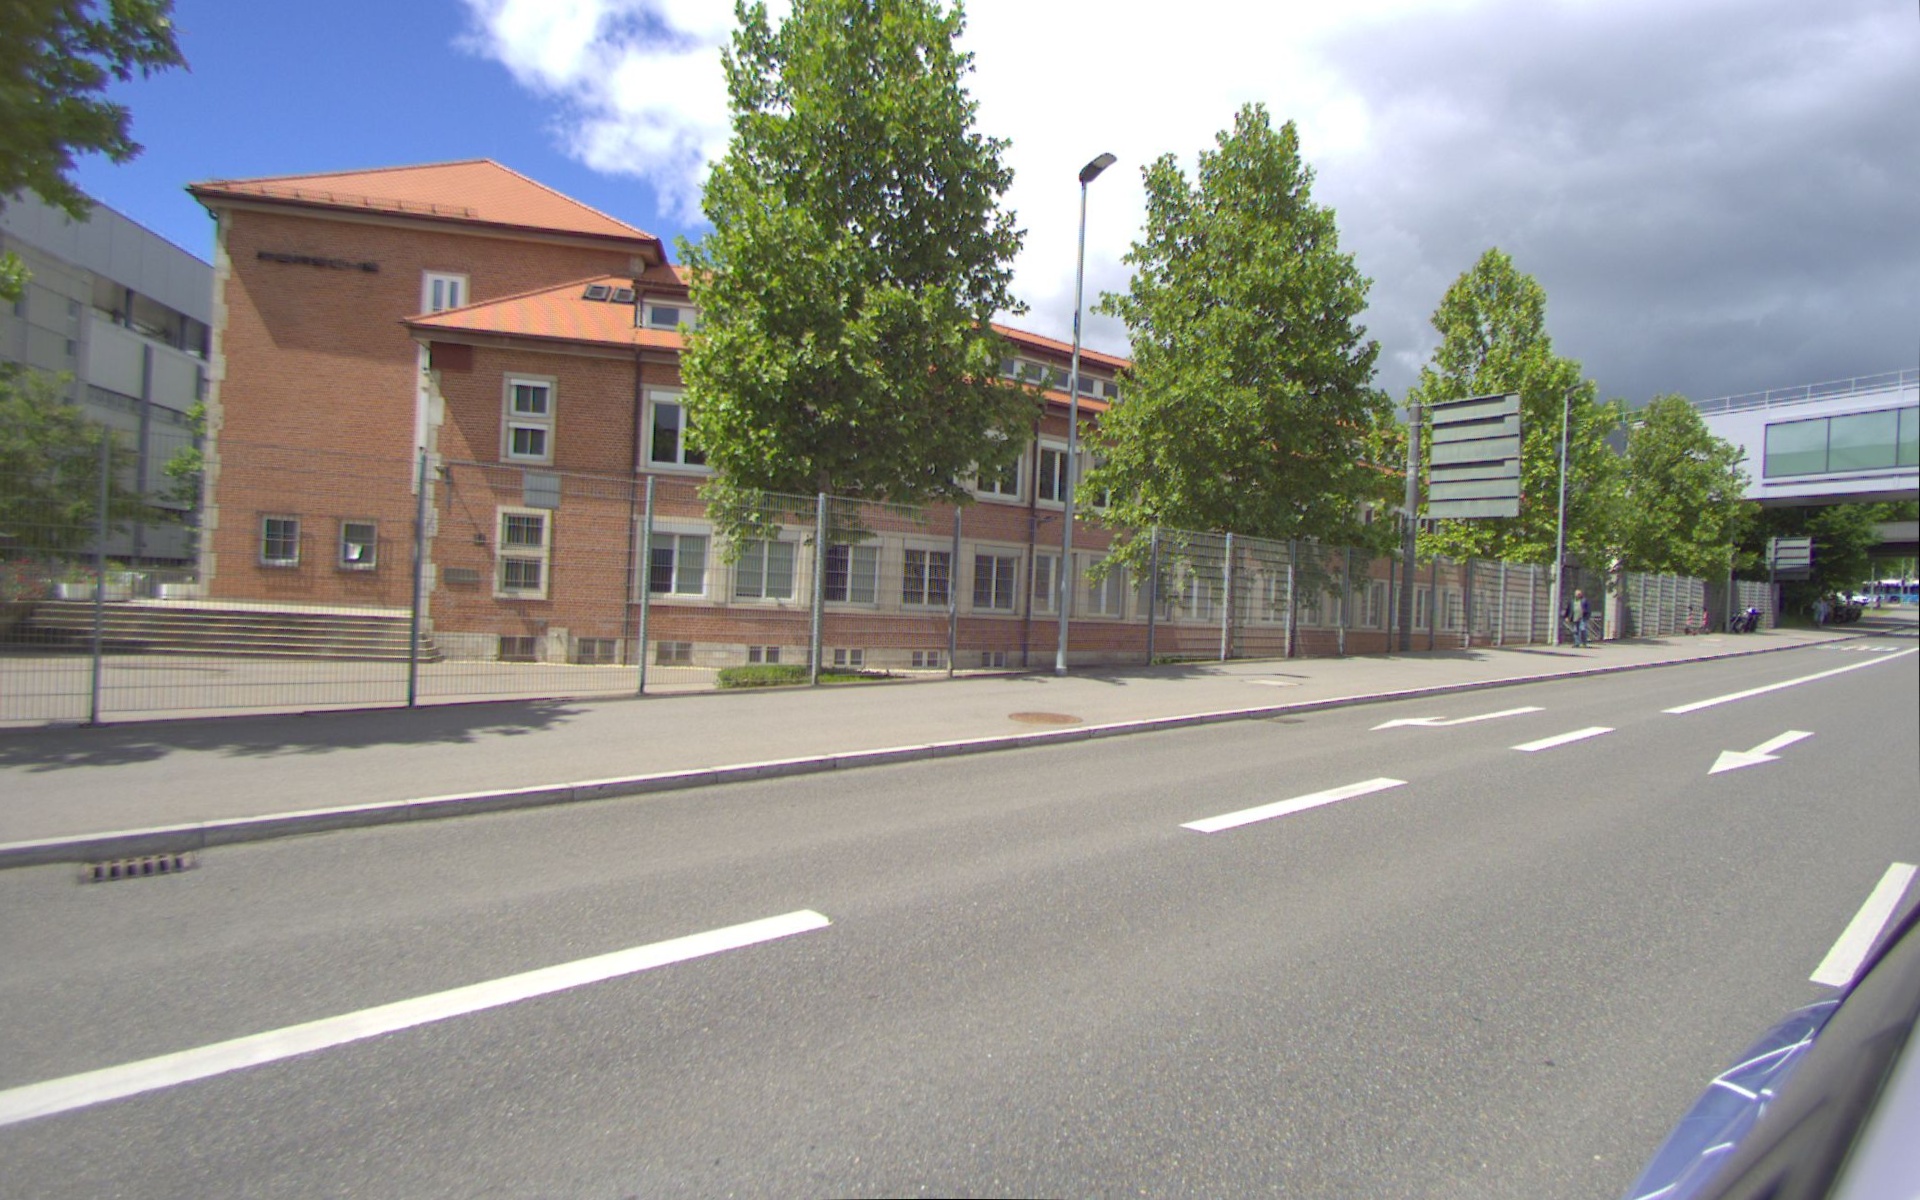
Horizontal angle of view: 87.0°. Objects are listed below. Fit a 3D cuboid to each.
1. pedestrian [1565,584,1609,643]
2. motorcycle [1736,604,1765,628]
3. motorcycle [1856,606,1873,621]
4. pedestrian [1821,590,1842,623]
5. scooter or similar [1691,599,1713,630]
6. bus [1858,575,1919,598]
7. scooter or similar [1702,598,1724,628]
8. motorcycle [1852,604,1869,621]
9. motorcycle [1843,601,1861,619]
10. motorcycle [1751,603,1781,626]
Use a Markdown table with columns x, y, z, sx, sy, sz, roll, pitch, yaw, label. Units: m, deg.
| x | y | z | sx | sy | sz | roll | pitch | yaw | label |
| --- | --- | --- | --- | --- | --- | --- | --- | --- | --- |
| 19.534 | 0.403 | 31.523 | 0.924 | 1.765 | 0.879 | 0 | 3 | -42 | pedestrian |
| 37.914 | 0.775 | 48.555 | 2.208 | 1.077 | 0.669 | 0 | 4 | -42 | motorcycle |
| 65.602 | 0.970 | 73.403 | 2.004 | 1.096 | 0.679 | 0 | 2 | -43 | motorcycle |
| 51.696 | 0.362 | 60.024 | 1.078 | 1.911 | 0.790 | 0 | 1 | -42 | pedestrian |
| 32.378 | 0.614 | 44.152 | 1.313 | 1.310 | 0.492 | 0 | 2 | -42 | scooter or similar |
| 127.829 | -1.845 | 136.450 | 2.605 | 2.972 | 9.775 | -1 | 0 | -40 | bus |
| 33.849 | 0.582 | 45.479 | 1.313 | 1.310 | 0.492 | 0 | 2 | -42 | scooter or similar |
| 63.880 | 0.890 | 71.792 | 2.124 | 1.157 | 0.679 | 0 | 2 | -43 | motorcycle |
| 61.983 | 0.683 | 70.311 | 2.076 | 1.169 | 0.679 | 0 | 2 | -41 | motorcycle |
| 40.258 | 0.729 | 50.545 | 2.467 | 1.077 | 0.709 | 0 | 4 | -42 | motorcycle |
